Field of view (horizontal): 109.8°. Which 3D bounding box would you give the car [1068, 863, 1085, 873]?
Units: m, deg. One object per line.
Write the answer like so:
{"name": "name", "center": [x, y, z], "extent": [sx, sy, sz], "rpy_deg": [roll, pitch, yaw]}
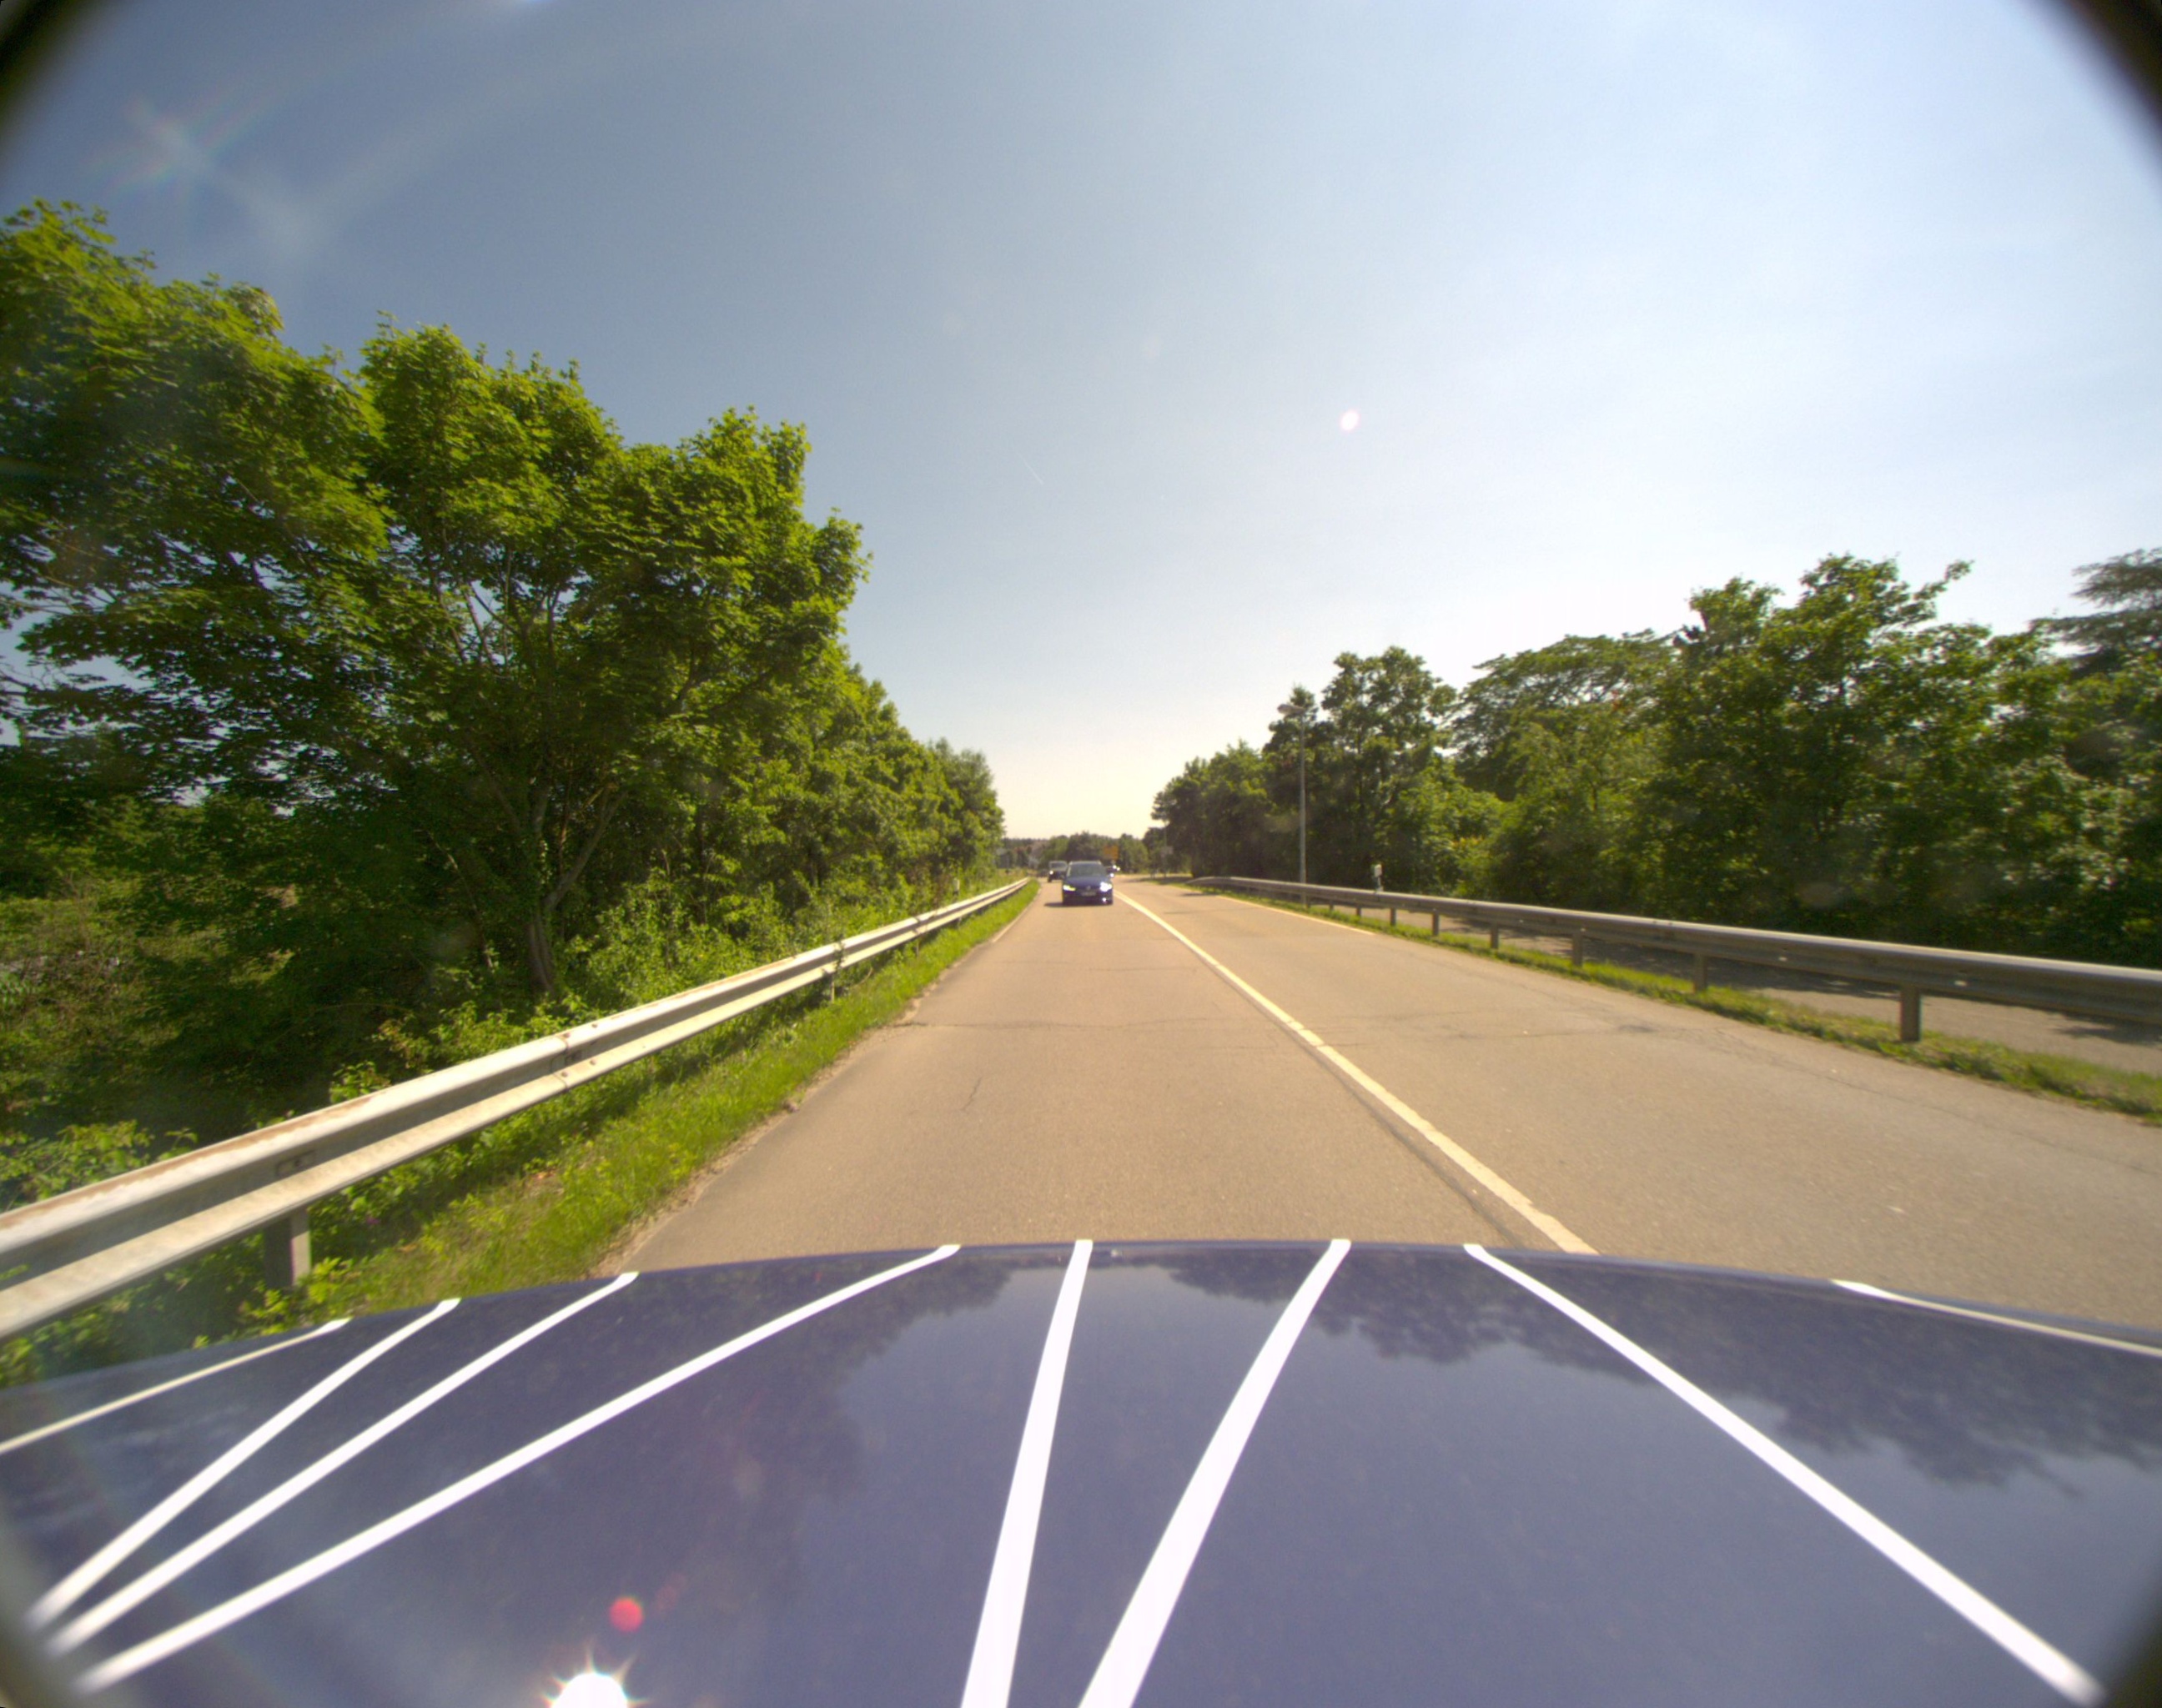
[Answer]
{"name": "car", "center": [-0.673, 2.118, 115.655], "extent": [1.746, 1.447, 3.884], "rpy_deg": [-2, 0, -13]}

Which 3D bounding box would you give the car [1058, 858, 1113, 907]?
{"name": "car", "center": [0.182, 0.983, 28.012], "extent": [1.828, 1.591, 4.195], "rpy_deg": [-2, 0, 1]}

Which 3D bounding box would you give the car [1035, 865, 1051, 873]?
{"name": "car", "center": [-6.744, 2.654, 134.868], "extent": [1.634, 1.396, 3.426], "rpy_deg": [-4, 0, -25]}

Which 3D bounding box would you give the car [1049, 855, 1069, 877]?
{"name": "car", "center": [-2.059, 1.162, 71.469], "extent": [1.779, 2.006, 4.000], "rpy_deg": [1, -1, -1]}
